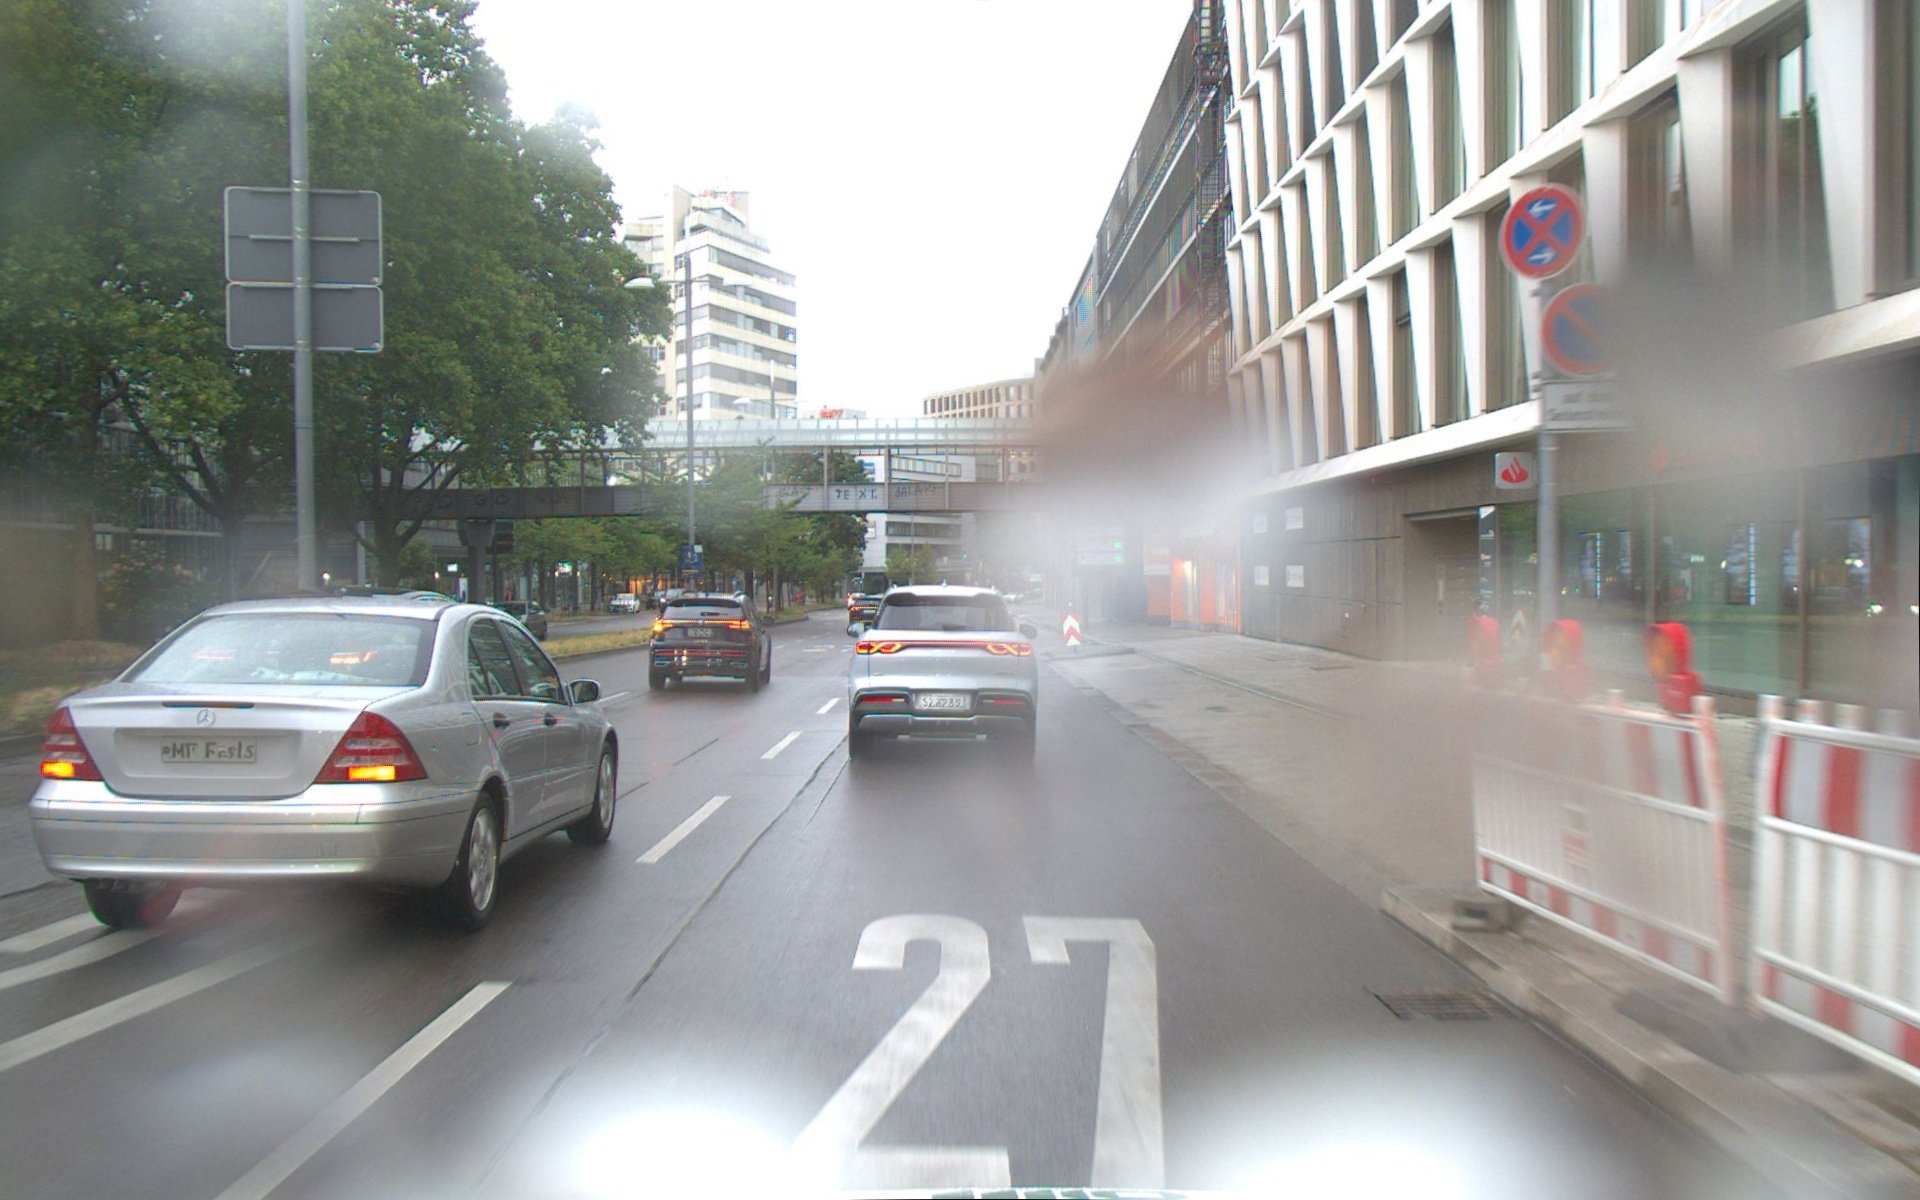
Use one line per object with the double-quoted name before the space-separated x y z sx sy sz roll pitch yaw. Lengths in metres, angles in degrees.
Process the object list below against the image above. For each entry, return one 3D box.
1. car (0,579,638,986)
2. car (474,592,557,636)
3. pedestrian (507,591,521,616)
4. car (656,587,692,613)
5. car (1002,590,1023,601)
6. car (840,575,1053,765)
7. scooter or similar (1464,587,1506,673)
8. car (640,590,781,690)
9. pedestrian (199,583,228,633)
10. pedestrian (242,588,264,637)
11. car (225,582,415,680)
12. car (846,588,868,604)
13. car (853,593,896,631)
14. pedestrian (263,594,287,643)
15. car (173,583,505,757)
"car" -2.856 0.706 8.328 1.638 1.505 4.359 0 -1 -1
"car" -15.685 0.499 58.615 1.656 1.463 4.758 -1 0 0
"pedestrian" -31.346 0.249 116.167 0.728 1.745 1.057 0 0 -1
"car" -17.690 -0.023 102.520 1.628 1.489 4.079 -3 0 -2
"car" 7.729 -0.717 243.477 1.551 1.565 3.993 0 0 30
"car" -0.137 0.628 16.754 1.862 1.650 3.999 1 0 -1
"scooter or similar" 7.872 0.437 24.824 0.403 1.258 1.190 0 0 8
"car" -3.957 0.608 26.804 1.738 1.482 3.999 -1 0 -1
"pedestrian" -27.813 0.303 61.649 0.720 1.839 0.802 0 0 0
"pedestrian" -26.946 0.468 63.030 0.593 1.839 0.511 0 0 0
"car" -12.067 0.559 31.543 1.836 1.710 4.680 -1 0 0
"car" -9.093 -0.348 146.769 1.619 1.365 4.001 0 0 1
"car" -3.709 0.507 72.348 1.775 1.606 3.999 0 0 -1
"pedestrian" -26.108 0.694 63.032 0.584 1.839 0.759 0 0 0
"car" -6.113 0.598 16.958 1.835 1.505 4.874 -1 0 -4
